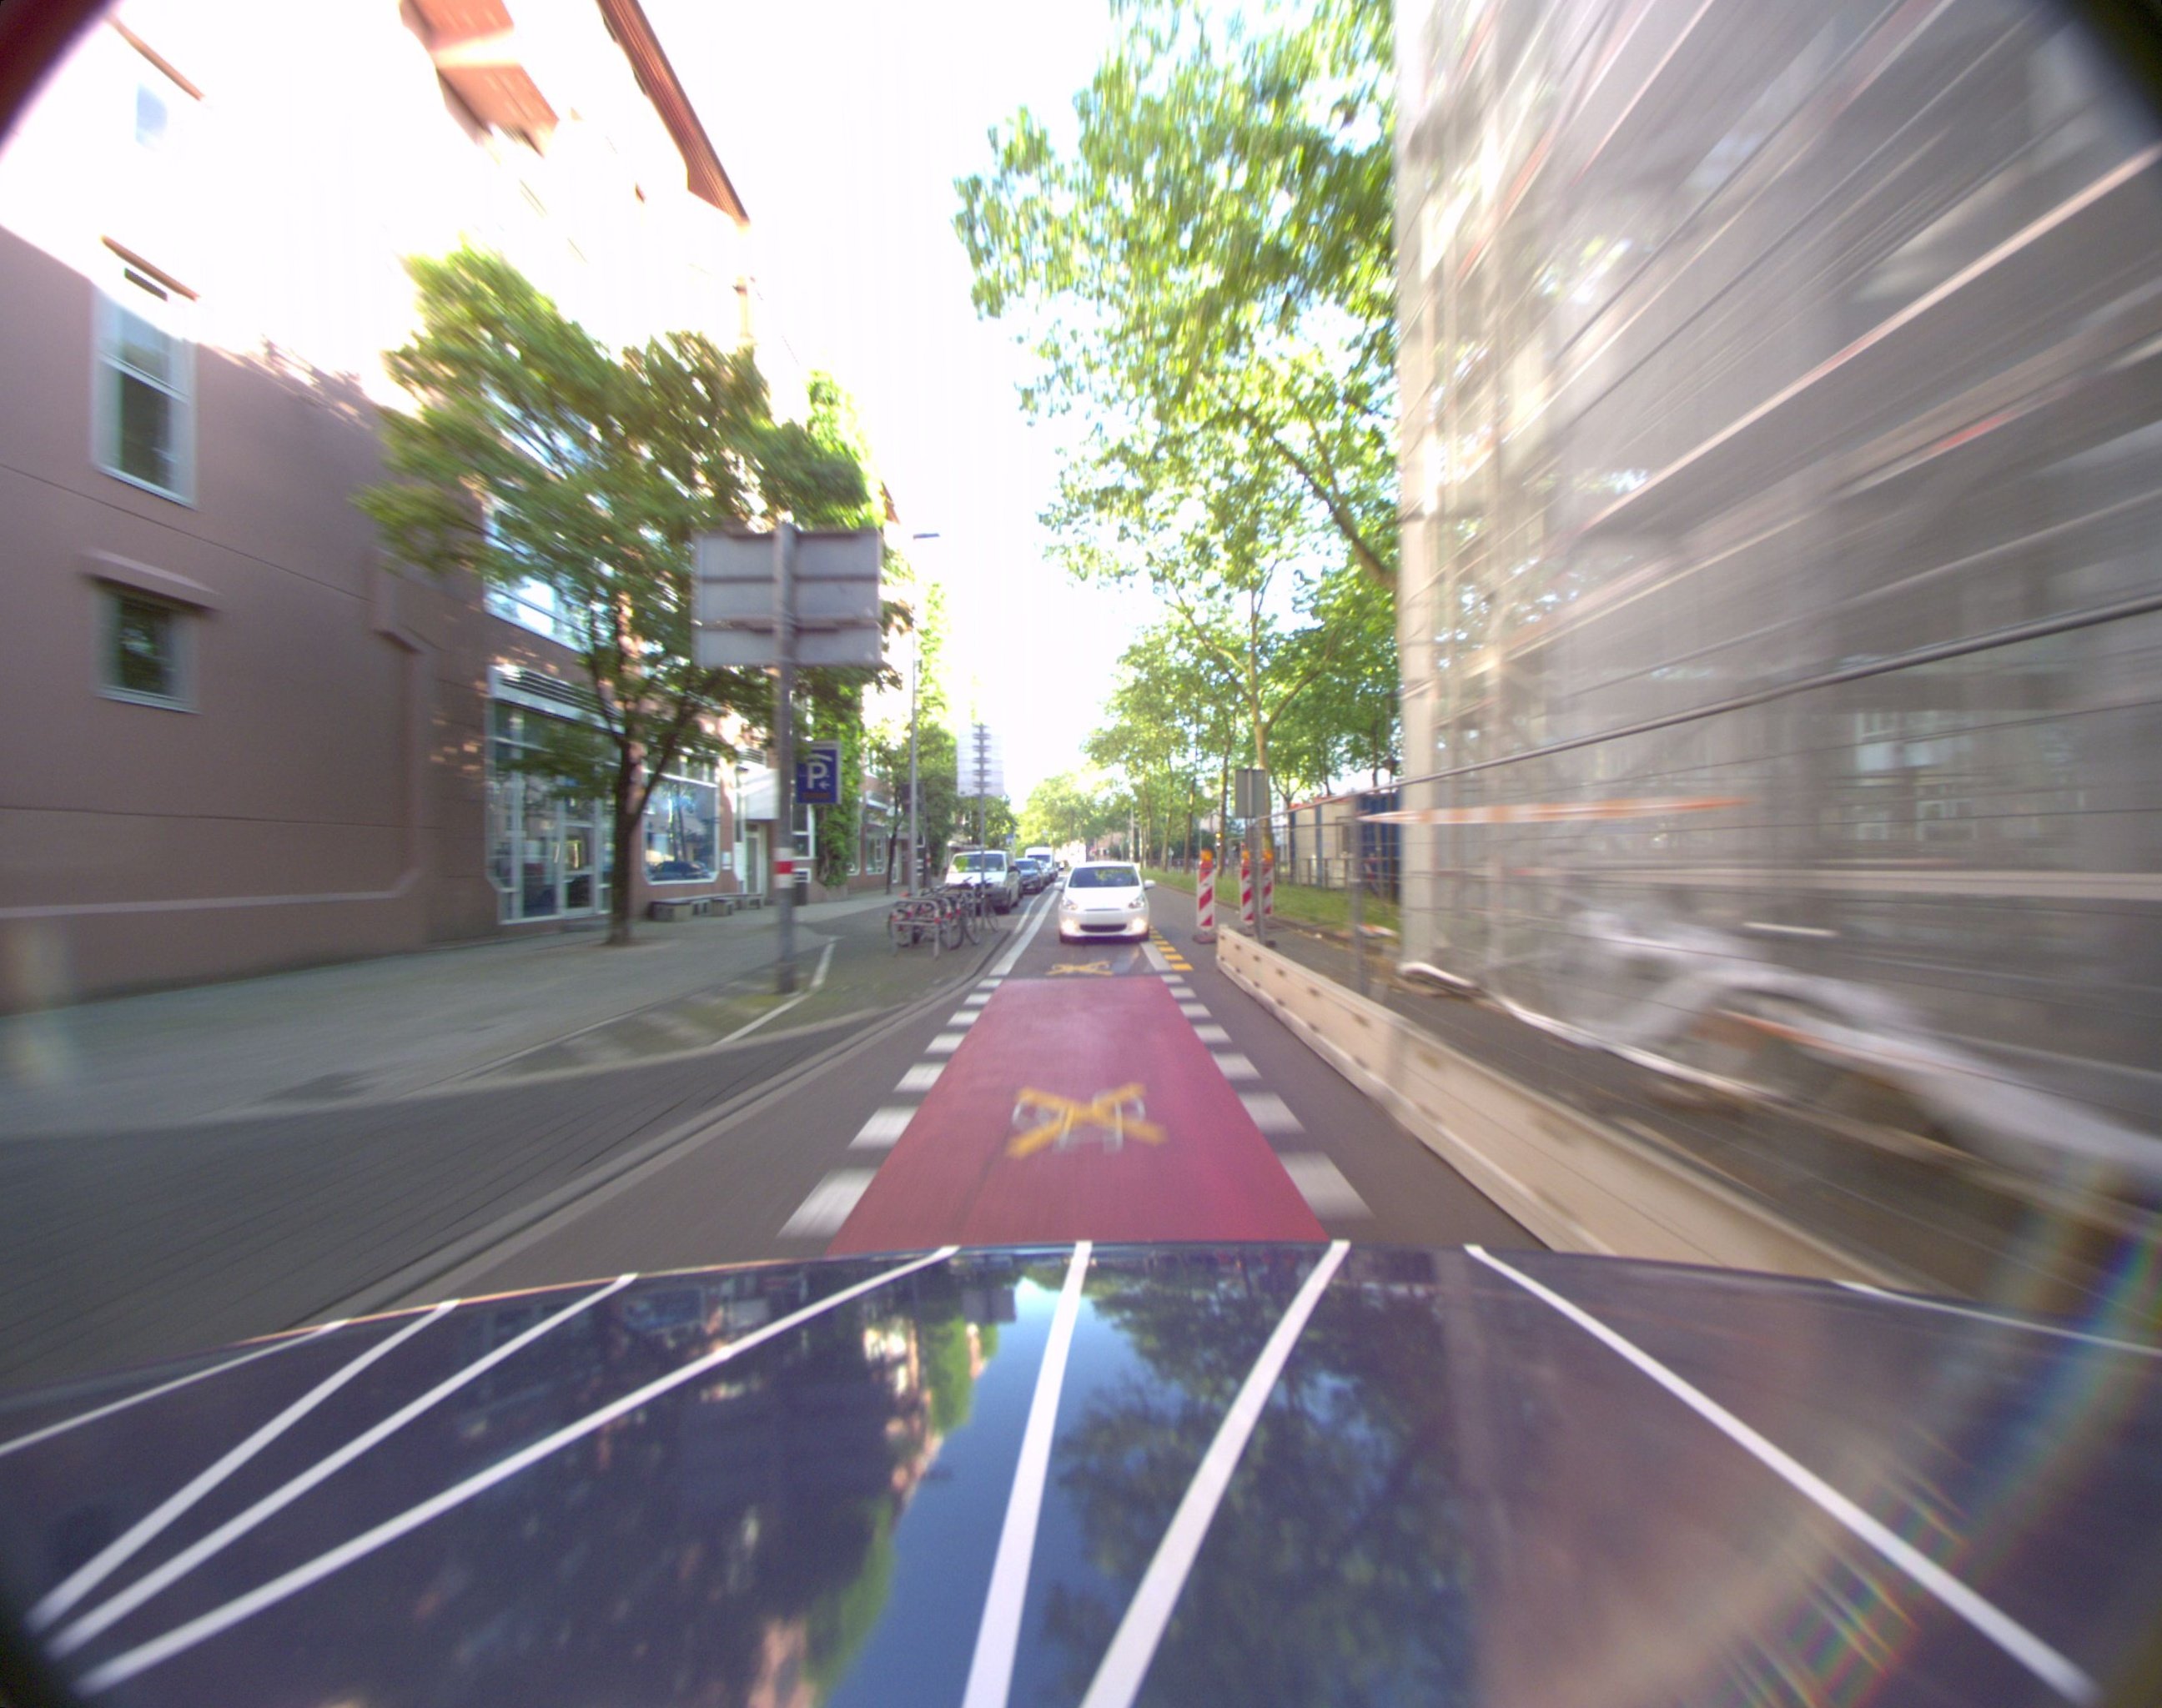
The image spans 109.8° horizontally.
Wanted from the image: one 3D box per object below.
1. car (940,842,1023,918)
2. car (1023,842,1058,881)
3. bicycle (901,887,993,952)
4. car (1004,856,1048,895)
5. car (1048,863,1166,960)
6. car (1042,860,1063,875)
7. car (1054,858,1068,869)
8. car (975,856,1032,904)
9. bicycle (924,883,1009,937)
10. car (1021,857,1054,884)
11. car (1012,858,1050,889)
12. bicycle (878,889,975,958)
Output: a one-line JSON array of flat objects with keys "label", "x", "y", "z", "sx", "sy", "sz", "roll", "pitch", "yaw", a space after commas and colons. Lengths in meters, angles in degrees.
[{"label": "car", "x": -2.966, "y": 0.740, "z": 23.730, "sx": 1.923, "sy": 2.066, "sz": 5.170, "roll": -1, "pitch": 0, "yaw": -1}, {"label": "car", "x": -2.792, "y": 0.532, "z": 54.073, "sx": 2.120, "sy": 2.550, "sz": 5.905, "roll": -1, "pitch": 0, "yaw": 0}, {"label": "bicycle", "x": -2.367, "y": 1.120, "z": 13.359, "sx": 1.678, "sy": 1.061, "sz": 0.501, "roll": -2, "pitch": 0, "yaw": 34}, {"label": "car", "x": -2.533, "y": 0.958, "z": 35.767, "sx": 1.792, "sy": 1.660, "sz": 4.440, "roll": -1, "pitch": 0, "yaw": -1}, {"label": "car", "x": 0.330, "y": 0.959, "z": 14.400, "sx": 1.809, "sy": 1.492, "sz": 4.199, "roll": -1, "pitch": 0, "yaw": -4}, {"label": "car", "x": -2.701, "y": 1.201, "z": 70.464, "sx": 1.809, "sy": 1.322, "sz": 3.990, "roll": -1, "pitch": 0, "yaw": -4}, {"label": "car", "x": -3.195, "y": 1.541, "z": 122.201, "sx": 1.999, "sy": 1.524, "sz": 3.999, "roll": -3, "pitch": 0, "yaw": -1}, {"label": "car", "x": -2.931, "y": 0.946, "z": 29.487, "sx": 1.792, "sy": 1.660, "sz": 4.199, "roll": -1, "pitch": 0, "yaw": -1}, {"label": "bicycle", "x": -2.351, "y": 1.139, "z": 15.598, "sx": 1.679, "sy": 1.061, "sz": 0.512, "roll": -2, "pitch": 0, "yaw": 23}, {"label": "car", "x": -2.668, "y": 1.014, "z": 47.223, "sx": 1.833, "sy": 1.569, "sz": 4.000, "roll": -1, "pitch": 0, "yaw": -1}, {"label": "car", "x": -2.646, "y": 1.015, "z": 41.011, "sx": 1.833, "sy": 1.569, "sz": 4.000, "roll": -1, "pitch": 0, "yaw": -1}, {"label": "bicycle", "x": -2.579, "y": 1.120, "z": 12.585, "sx": 1.678, "sy": 1.061, "sz": 0.501, "roll": -2, "pitch": 0, "yaw": 34}]
